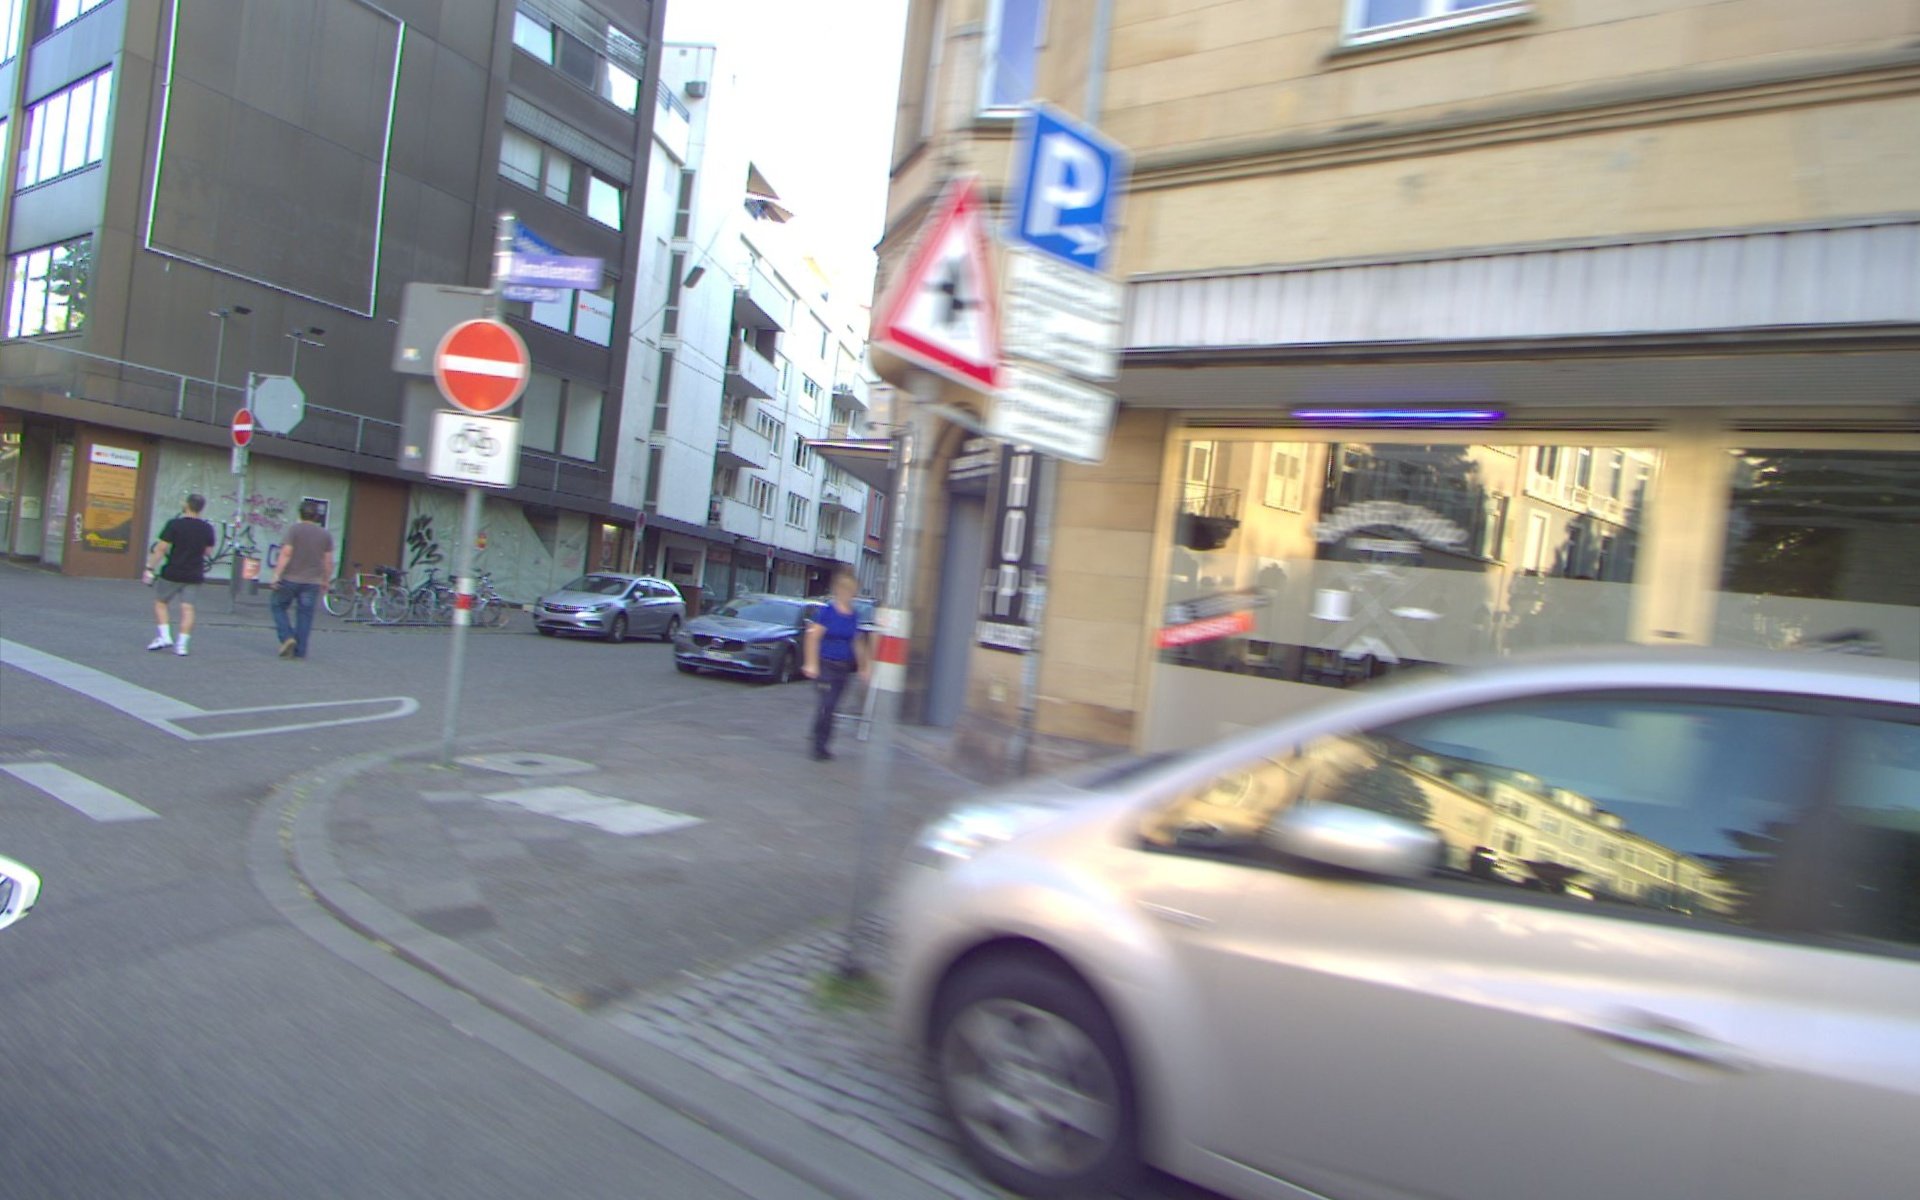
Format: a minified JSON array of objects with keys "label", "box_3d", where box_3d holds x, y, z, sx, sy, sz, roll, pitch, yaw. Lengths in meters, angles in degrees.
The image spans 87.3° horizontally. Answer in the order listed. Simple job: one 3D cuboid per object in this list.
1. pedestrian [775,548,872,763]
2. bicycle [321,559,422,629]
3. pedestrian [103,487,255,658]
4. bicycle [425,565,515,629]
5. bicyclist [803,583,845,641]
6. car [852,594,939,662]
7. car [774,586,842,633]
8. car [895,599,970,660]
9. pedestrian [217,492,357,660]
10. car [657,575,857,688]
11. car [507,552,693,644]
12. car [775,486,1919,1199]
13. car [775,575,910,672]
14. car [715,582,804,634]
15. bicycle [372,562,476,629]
[{"label":"pedestrian","box_3d":[-1.126,0.461,8.392,0.576,1.686,0.422,7,0,-5]},{"label":"bicycle","box_3d":[-10.608,-0.100,18.132,1.658,1.043,0.416,7,1,14]},{"label":"pedestrian","box_3d":[-8.438,-0.297,10.866,1.238,1.660,0.756,7,0,32]},{"label":"bicycle","box_3d":[-10.157,-0.057,20.851,1.658,1.107,0.416,8,0,11]},{"label":"bicyclist","box_3d":[-4.152,0.371,30.706,0.934,1.648,0.738,7,0,7]},{"label":"car","box_3d":[-1.807,0.846,29.571,1.598,1.668,4.004,7,-1,8]},{"label":"car","box_3d":[-6.268,0.440,41.858,1.593,1.634,3.490,7,-1,10]},{"label":"car","box_3d":[-0.867,1.038,34.756,1.768,1.752,4.004,7,-1,8]},{"label":"pedestrian","box_3d":[-7.851,-0.279,11.743,1.202,1.788,0.756,7,0,32]},{"label":"car","box_3d":[-3.406,0.583,17.930,1.892,1.505,4.693,8,-1,8]},{"label":"car","box_3d":[-7.763,0.044,22.185,1.962,1.600,4.256,8,-1,8]},{"label":"car","box_3d":[1.660,0.825,2.589,3.934,1.792,1.698,7,0,32]},{"label":"car","box_3d":[-2.631,0.584,23.718,1.906,1.833,4.429,7,-1,8]},{"label":"car","box_3d":[-7.029,0.320,35.631,1.746,1.515,3.834,8,-1,9]},{"label":"bicycle","box_3d":[-10.349,-0.093,19.434,1.742,1.051,0.415,8,2,6]}]
